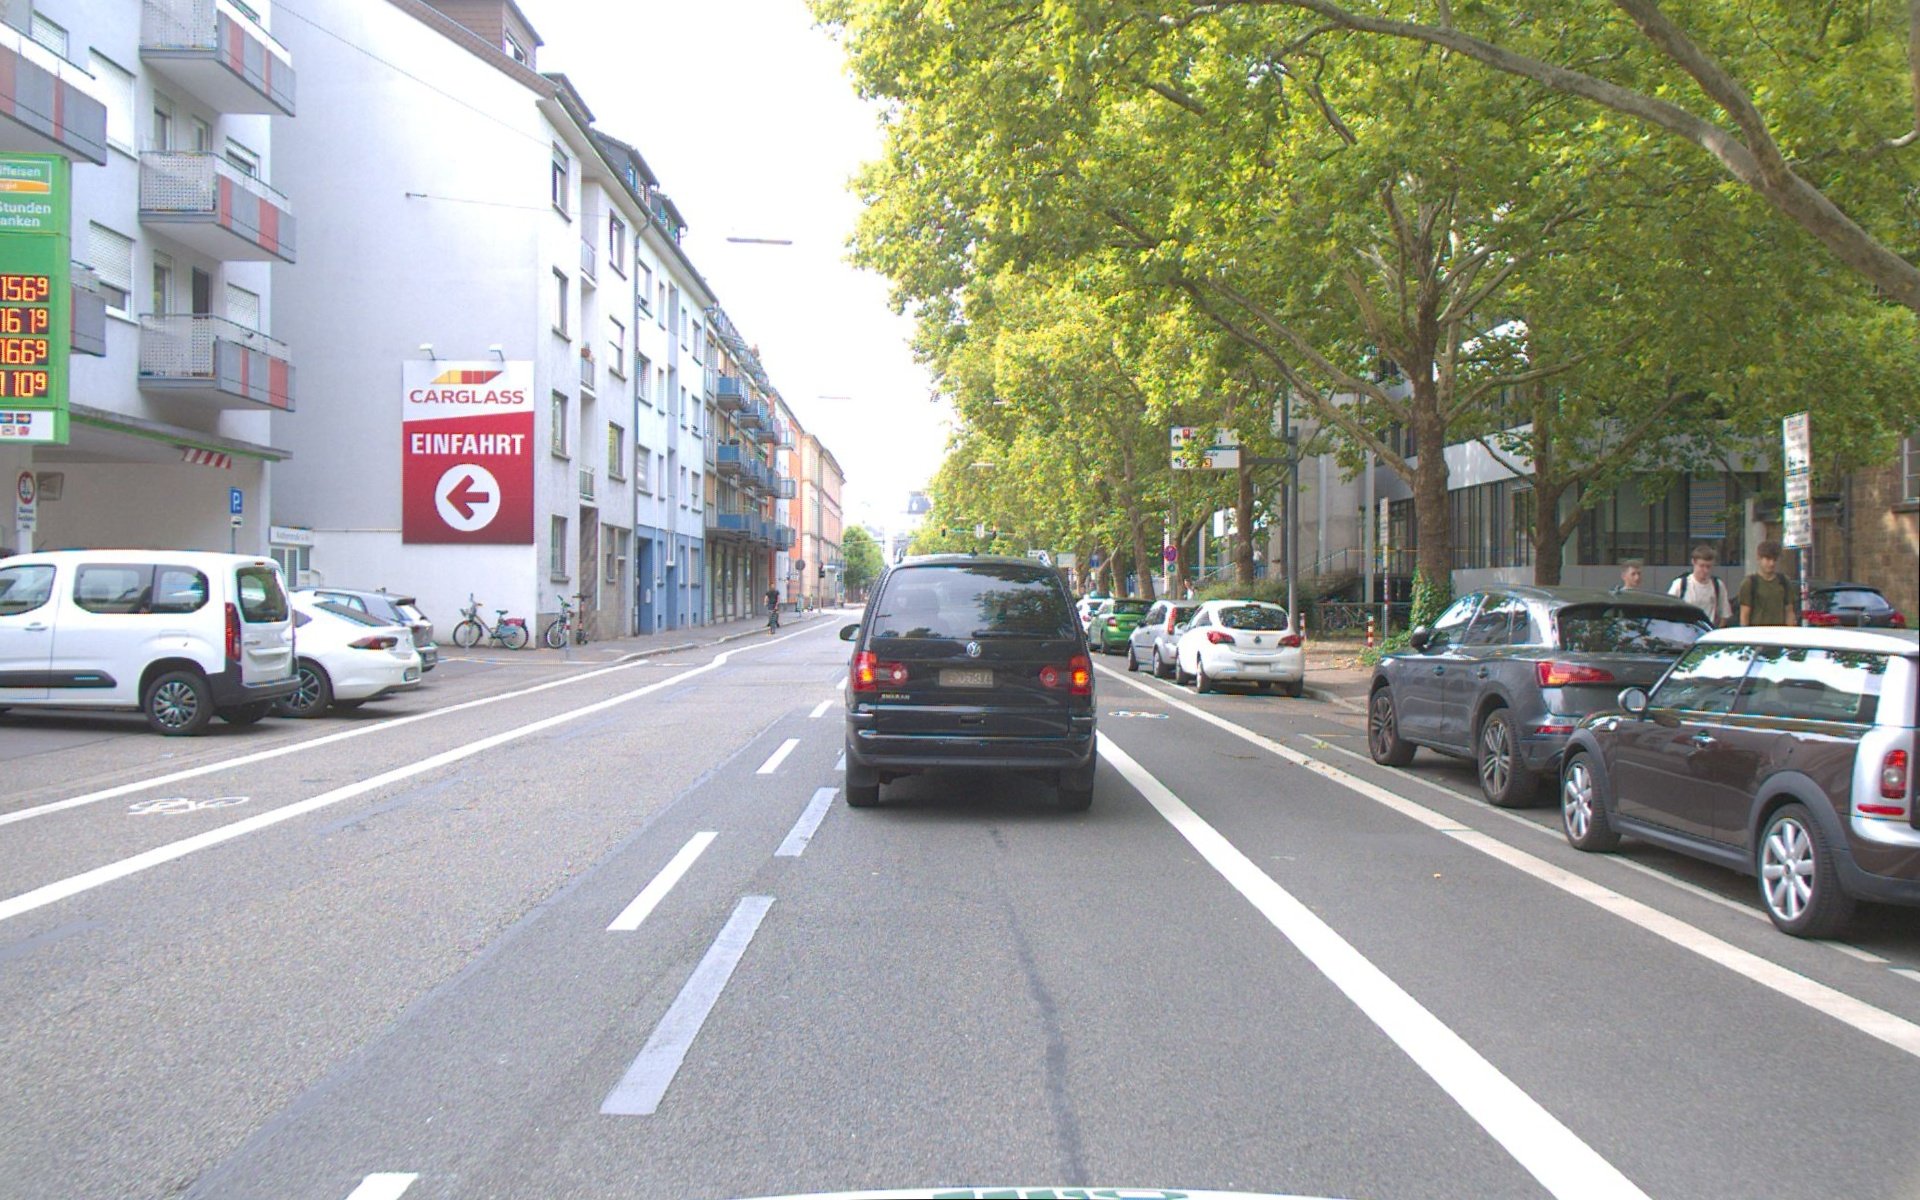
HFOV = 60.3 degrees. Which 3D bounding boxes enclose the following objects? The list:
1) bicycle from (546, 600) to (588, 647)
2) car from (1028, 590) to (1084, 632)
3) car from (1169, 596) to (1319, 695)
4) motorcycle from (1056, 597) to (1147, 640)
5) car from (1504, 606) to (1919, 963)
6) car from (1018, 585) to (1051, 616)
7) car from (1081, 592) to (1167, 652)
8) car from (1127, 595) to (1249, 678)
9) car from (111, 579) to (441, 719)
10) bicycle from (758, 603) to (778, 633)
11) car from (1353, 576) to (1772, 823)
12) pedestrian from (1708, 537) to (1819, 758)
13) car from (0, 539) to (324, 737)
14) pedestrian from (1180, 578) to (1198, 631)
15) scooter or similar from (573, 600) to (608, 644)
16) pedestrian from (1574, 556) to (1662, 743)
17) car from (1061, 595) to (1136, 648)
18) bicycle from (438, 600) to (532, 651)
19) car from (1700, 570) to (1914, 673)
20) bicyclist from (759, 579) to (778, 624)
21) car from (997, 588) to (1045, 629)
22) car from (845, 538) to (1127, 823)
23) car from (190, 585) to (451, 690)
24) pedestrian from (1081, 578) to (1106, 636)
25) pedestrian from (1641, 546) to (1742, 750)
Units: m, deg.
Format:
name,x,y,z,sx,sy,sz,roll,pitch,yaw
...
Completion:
name,x,y,z,sx,sy,sz,roll,pitch,yaw
bicycle,-9.181,0.529,38.733,0.618,1.052,2.013,1,0,-4
car,3.664,0.406,63.522,1.609,1.513,3.509,2,0,-5
car,4.620,0.691,27.506,1.641,1.418,4.460,2,0,-1
motorcycle,4.459,0.580,52.262,2.780,1.348,0.765,0,0,-1
car,4.635,0.809,9.307,1.597,1.495,4.316,0,0,-2
car,4.390,0.023,97.675,1.751,1.803,4.000,0,0,-1
car,4.271,0.540,43.461,1.609,1.438,3.413,2,0,-5
car,4.362,0.662,32.076,1.609,1.438,3.413,2,0,-5
car,-8.158,0.573,19.947,3.276,1.523,1.595,2,0,-3
bicycle,-7.200,0.691,62.092,0.618,1.052,2.013,1,-2,-3
car,4.786,0.681,13.902,1.635,1.669,4.501,3,0,-3
pedestrian,7.523,0.422,15.505,0.629,2.009,0.692,2,2,0
car,-9.251,0.355,17.560,4.221,1.902,1.823,2,0,-3
pedestrian,7.483,0.152,54.091,0.499,1.709,0.516,0,0,0
scooter or similar,-9.248,0.569,41.450,0.619,1.052,2.012,1,-2,-7
pedestrian,6.243,0.457,15.706,0.575,1.731,0.508,2,2,0
car,4.020,0.605,48.500,1.609,1.419,3.509,2,0,-5
bicycle,-10.620,0.571,36.999,1.967,1.052,0.410,2,2,0
car,13.927,0.295,27.443,1.442,1.484,3.917,2,2,-1
bicyclist,-7.207,0.063,62.292,0.640,1.639,0.655,1,-2,-4
car,2.671,0.359,72.972,1.708,1.719,3.801,0,0,-4
car,0.052,0.510,12.421,1.776,1.797,3.735,1,0,-4
car,-9.487,0.542,24.712,3.276,1.426,1.503,2,0,-3
pedestrian,4.315,0.212,53.563,0.751,1.863,0.516,0,0,0
pedestrian,6.886,0.431,15.593,0.575,1.870,0.692,2,2,0
